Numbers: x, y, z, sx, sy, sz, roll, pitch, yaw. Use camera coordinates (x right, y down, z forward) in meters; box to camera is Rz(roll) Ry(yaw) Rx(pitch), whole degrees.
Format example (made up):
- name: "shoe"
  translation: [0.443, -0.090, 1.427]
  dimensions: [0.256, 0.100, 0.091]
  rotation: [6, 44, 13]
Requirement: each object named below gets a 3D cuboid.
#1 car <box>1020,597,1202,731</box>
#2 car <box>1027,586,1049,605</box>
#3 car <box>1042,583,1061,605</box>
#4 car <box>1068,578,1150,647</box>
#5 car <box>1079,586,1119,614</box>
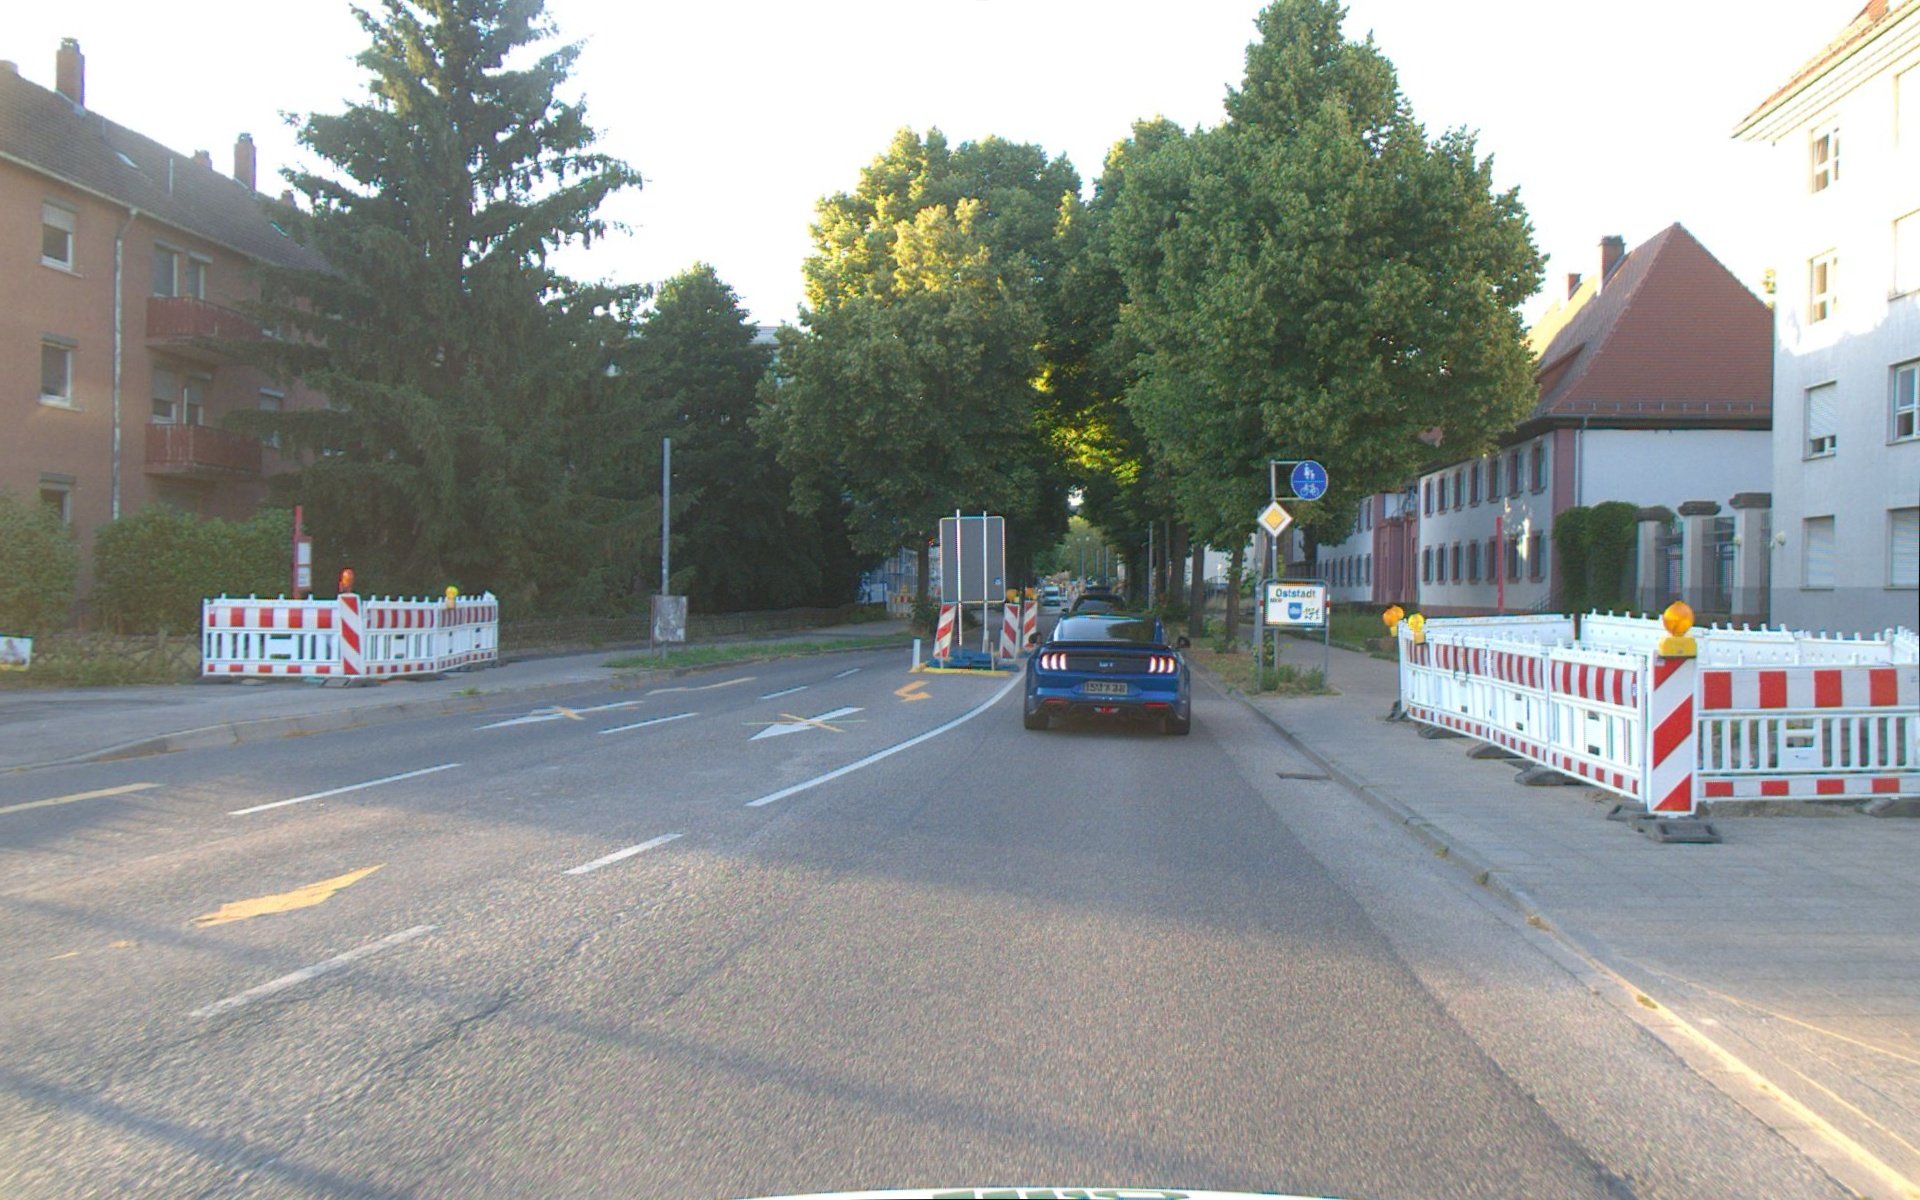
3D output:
- name: "car"
  translation: [1.780, 0.684, 19.788]
  dimensions: [1.906, 1.350, 4.002]
  rotation: [2, 0, 4]
- name: "car"
  translation: [9.624, -0.549, 203.366]
  dimensions: [2.286, 2.236, 5.312]
  rotation: [0, 0, 6]
- name: "car"
  translation: [11.893, -0.794, 214.784]
  dimensions: [2.440, 2.744, 5.833]
  rotation: [0, 0, 4]
- name: "car"
  translation: [3.771, 0.285, 41.400]
  dimensions: [1.906, 1.553, 4.003]
  rotation: [2, 0, 6]
- name: "car"
  translation: [7.226, -0.005, 85.731]
  dimensions: [1.906, 1.350, 4.003]
  rotation: [2, 0, 6]
